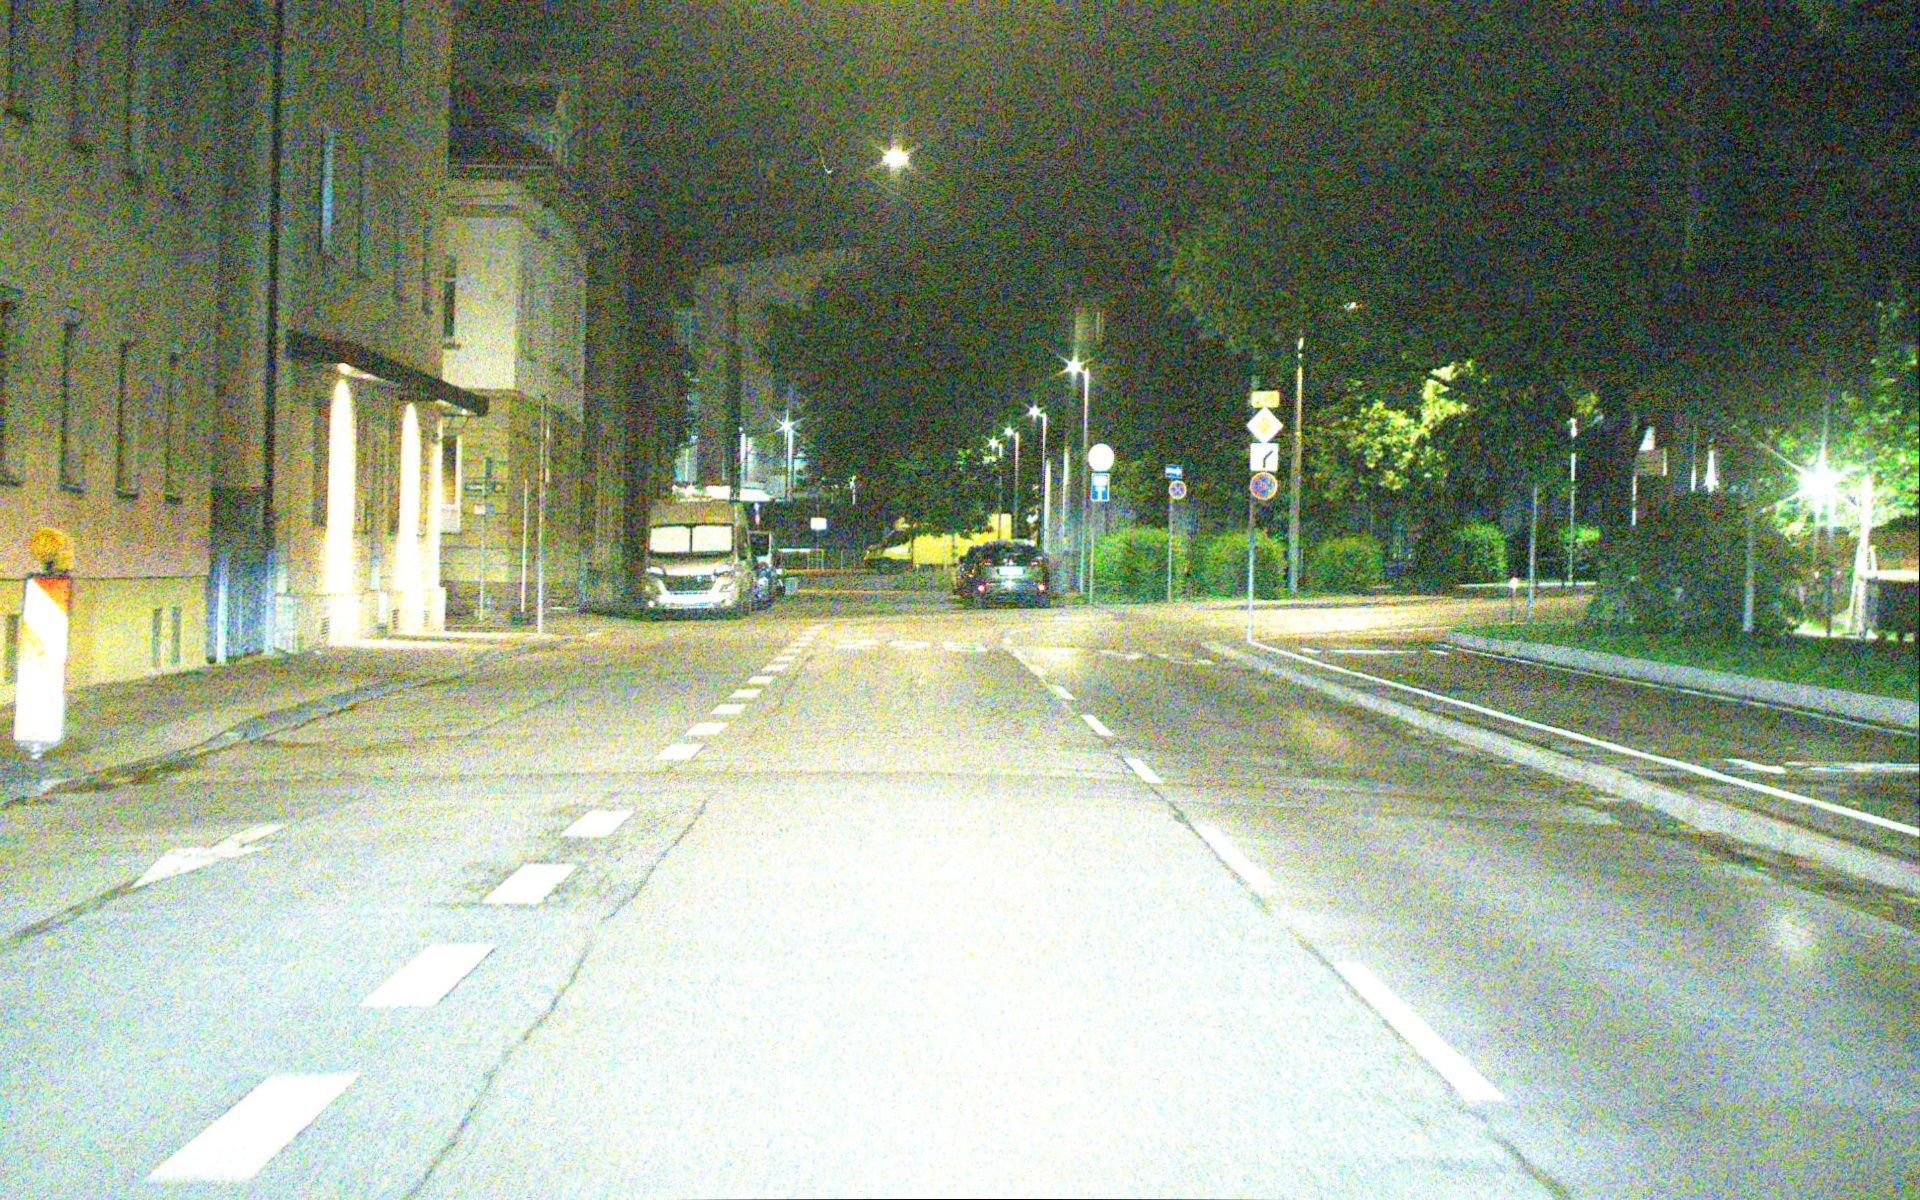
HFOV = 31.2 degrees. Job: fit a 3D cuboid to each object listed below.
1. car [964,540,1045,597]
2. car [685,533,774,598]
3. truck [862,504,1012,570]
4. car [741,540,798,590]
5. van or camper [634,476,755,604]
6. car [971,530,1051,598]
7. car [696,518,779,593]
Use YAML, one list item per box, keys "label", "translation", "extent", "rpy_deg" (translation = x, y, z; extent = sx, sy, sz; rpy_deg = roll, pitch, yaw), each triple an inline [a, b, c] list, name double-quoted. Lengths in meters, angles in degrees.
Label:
- label: "car"
  translation: [1.122, -0.788, 87.944]
  extent: [1.963, 1.378, 4.000]
  rpy_deg: [1, 0, 0]
- label: "car"
  translation: [-5.592, -0.832, 83.037]
  extent: [1.838, 1.502, 4.743]
  rpy_deg: [1, 1, -8]
- label: "truck"
  translation: [-1.081, -2.913, 160.071]
  extent: [6.775, 2.834, 2.000]
  rpy_deg: [2, 1, -3]
- label: "car"
  translation: [-6.150, -1.123, 111.376]
  extent: [1.677, 1.561, 4.105]
  rpy_deg: [1, 0, -1]
- label: "van or camper"
  translation: [-5.507, -1.233, 72.064]
  extent: [2.158, 2.527, 6.227]
  rpy_deg: [-1, 0, -1]
- label: "car"
  translation: [1.234, -0.851, 82.504]
  extent: [1.884, 1.597, 4.107]
  rpy_deg: [0, 0, 1]
- label: "car"
  translation: [-6.027, -1.195, 93.519]
  extent: [1.993, 1.948, 4.806]
  rpy_deg: [1, 1, -1]
